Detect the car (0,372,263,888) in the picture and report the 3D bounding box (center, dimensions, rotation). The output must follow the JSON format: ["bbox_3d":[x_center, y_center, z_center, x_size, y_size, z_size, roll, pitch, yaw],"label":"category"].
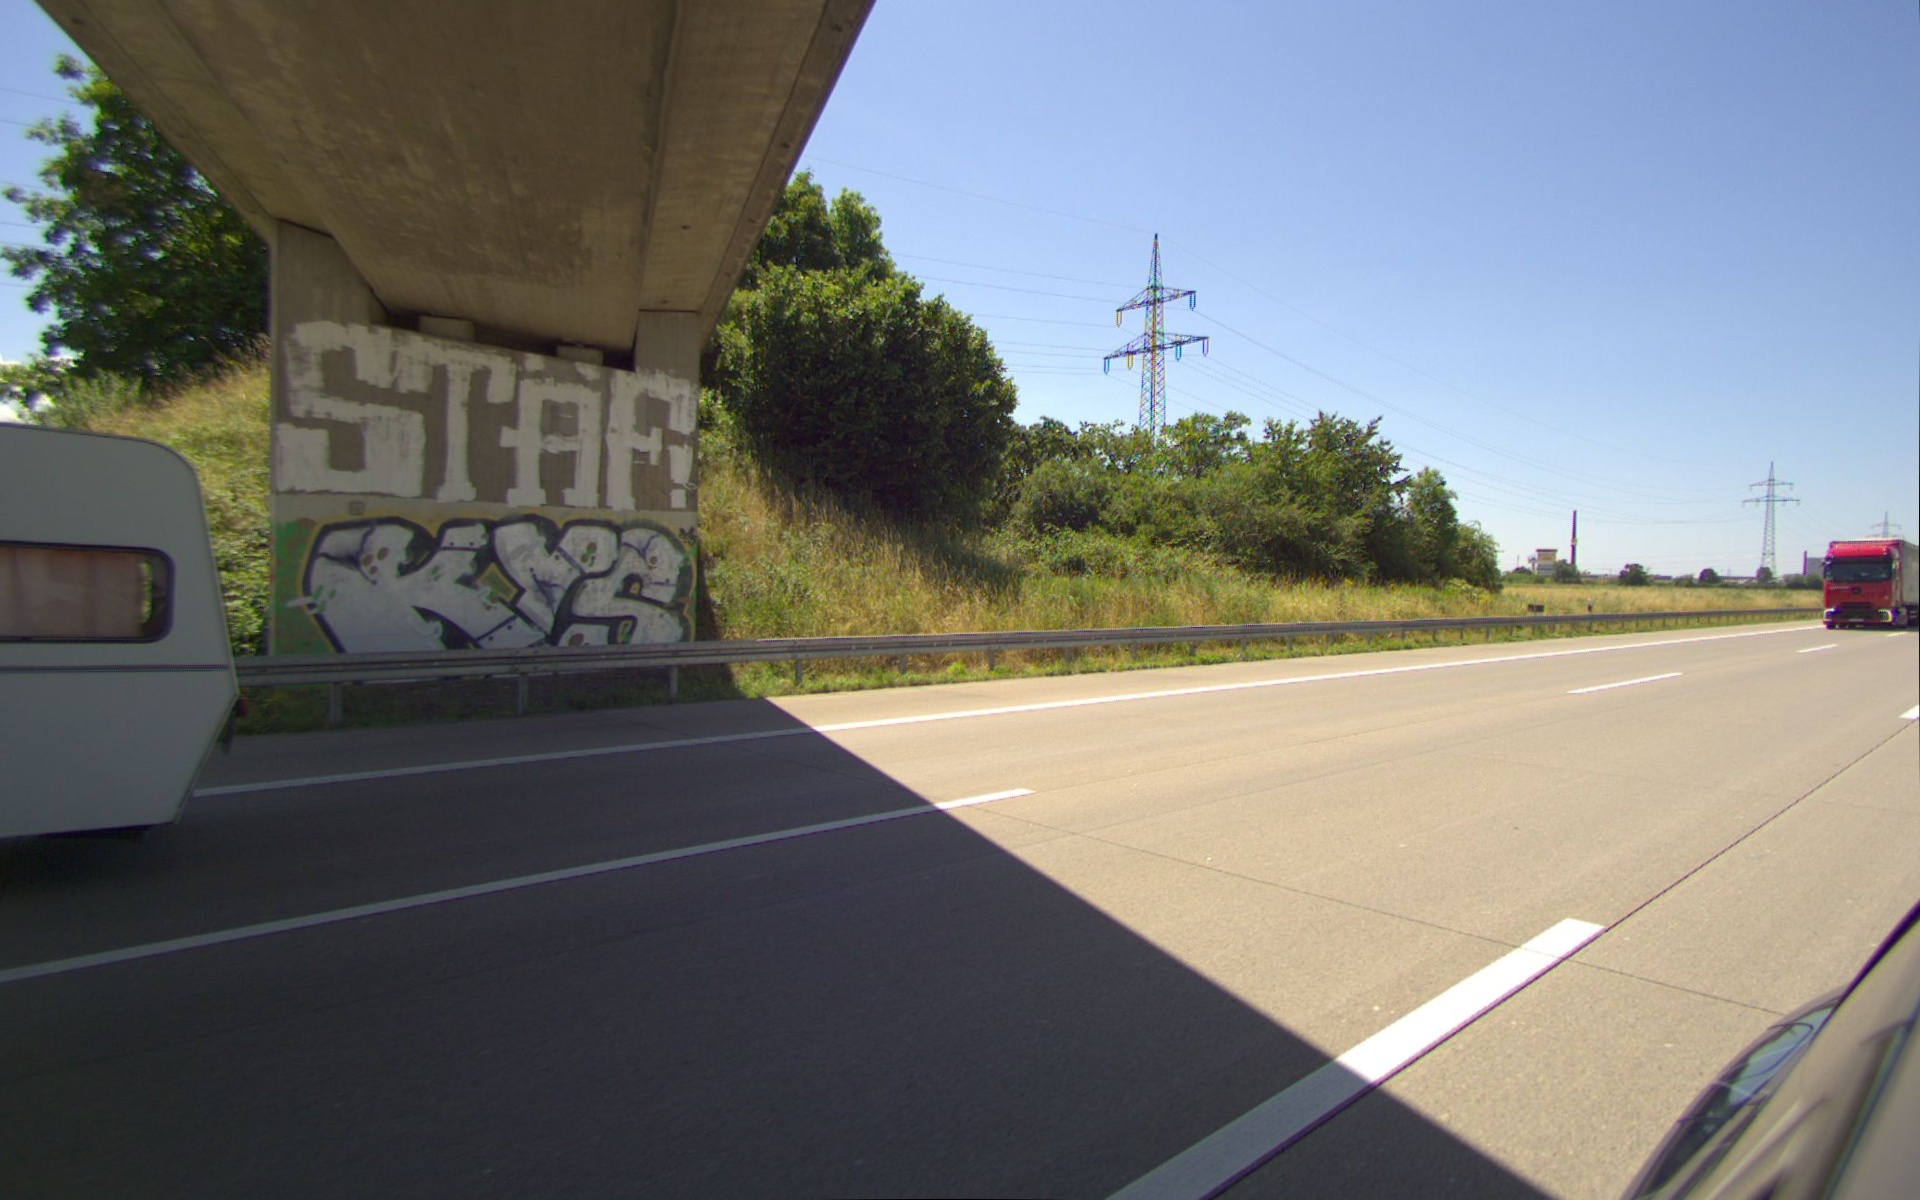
[{"bbox_3d":[-6.399,0.147,4.353,5.420,2.377,2.138,-1,0,-41],"label":"car"}]

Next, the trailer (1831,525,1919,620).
[{"bbox_3d":[46.646,-1.275,50.501,13.570,4.198,2.957,-1,0,-41],"label":"trailer"}]

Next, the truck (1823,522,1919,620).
[{"bbox_3d":[42.016,-1.263,46.356,6.046,4.199,2.957,0,0,-41],"label":"truck"}]
